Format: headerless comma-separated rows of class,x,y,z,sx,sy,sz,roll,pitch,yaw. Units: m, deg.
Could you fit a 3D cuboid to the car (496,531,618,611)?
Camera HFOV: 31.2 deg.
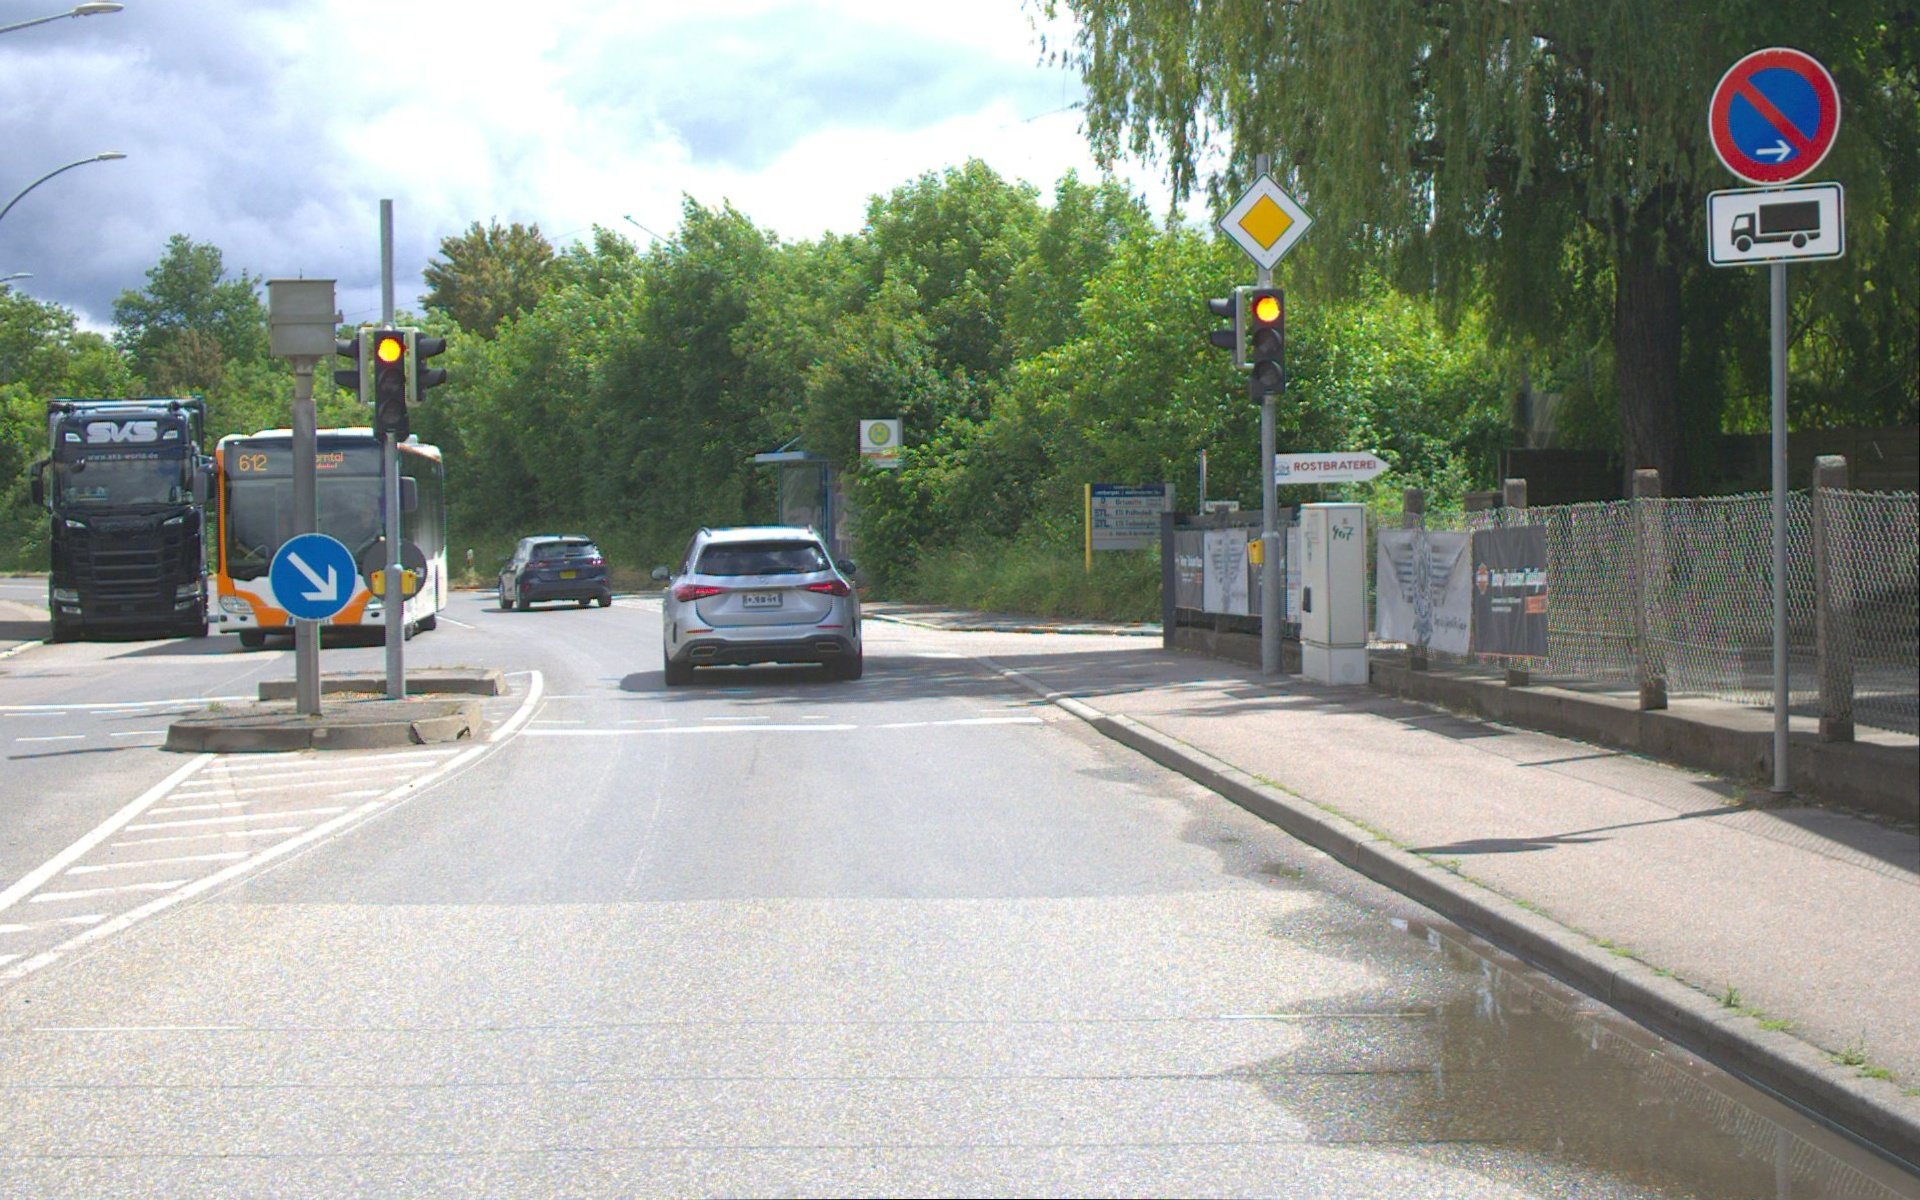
car,-7.929,-0.589,67.379,1.884,1.503,4.001,-1,1,-14

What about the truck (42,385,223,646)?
truck,-14.231,-1.407,59.627,2.428,4.117,9.153,1,1,-10

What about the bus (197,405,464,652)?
bus,-9.381,-1.091,52.542,2.777,3.255,12.126,-2,1,-5

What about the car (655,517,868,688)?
car,-1.930,-0.020,32.577,1.884,1.503,4.001,0,1,-5
